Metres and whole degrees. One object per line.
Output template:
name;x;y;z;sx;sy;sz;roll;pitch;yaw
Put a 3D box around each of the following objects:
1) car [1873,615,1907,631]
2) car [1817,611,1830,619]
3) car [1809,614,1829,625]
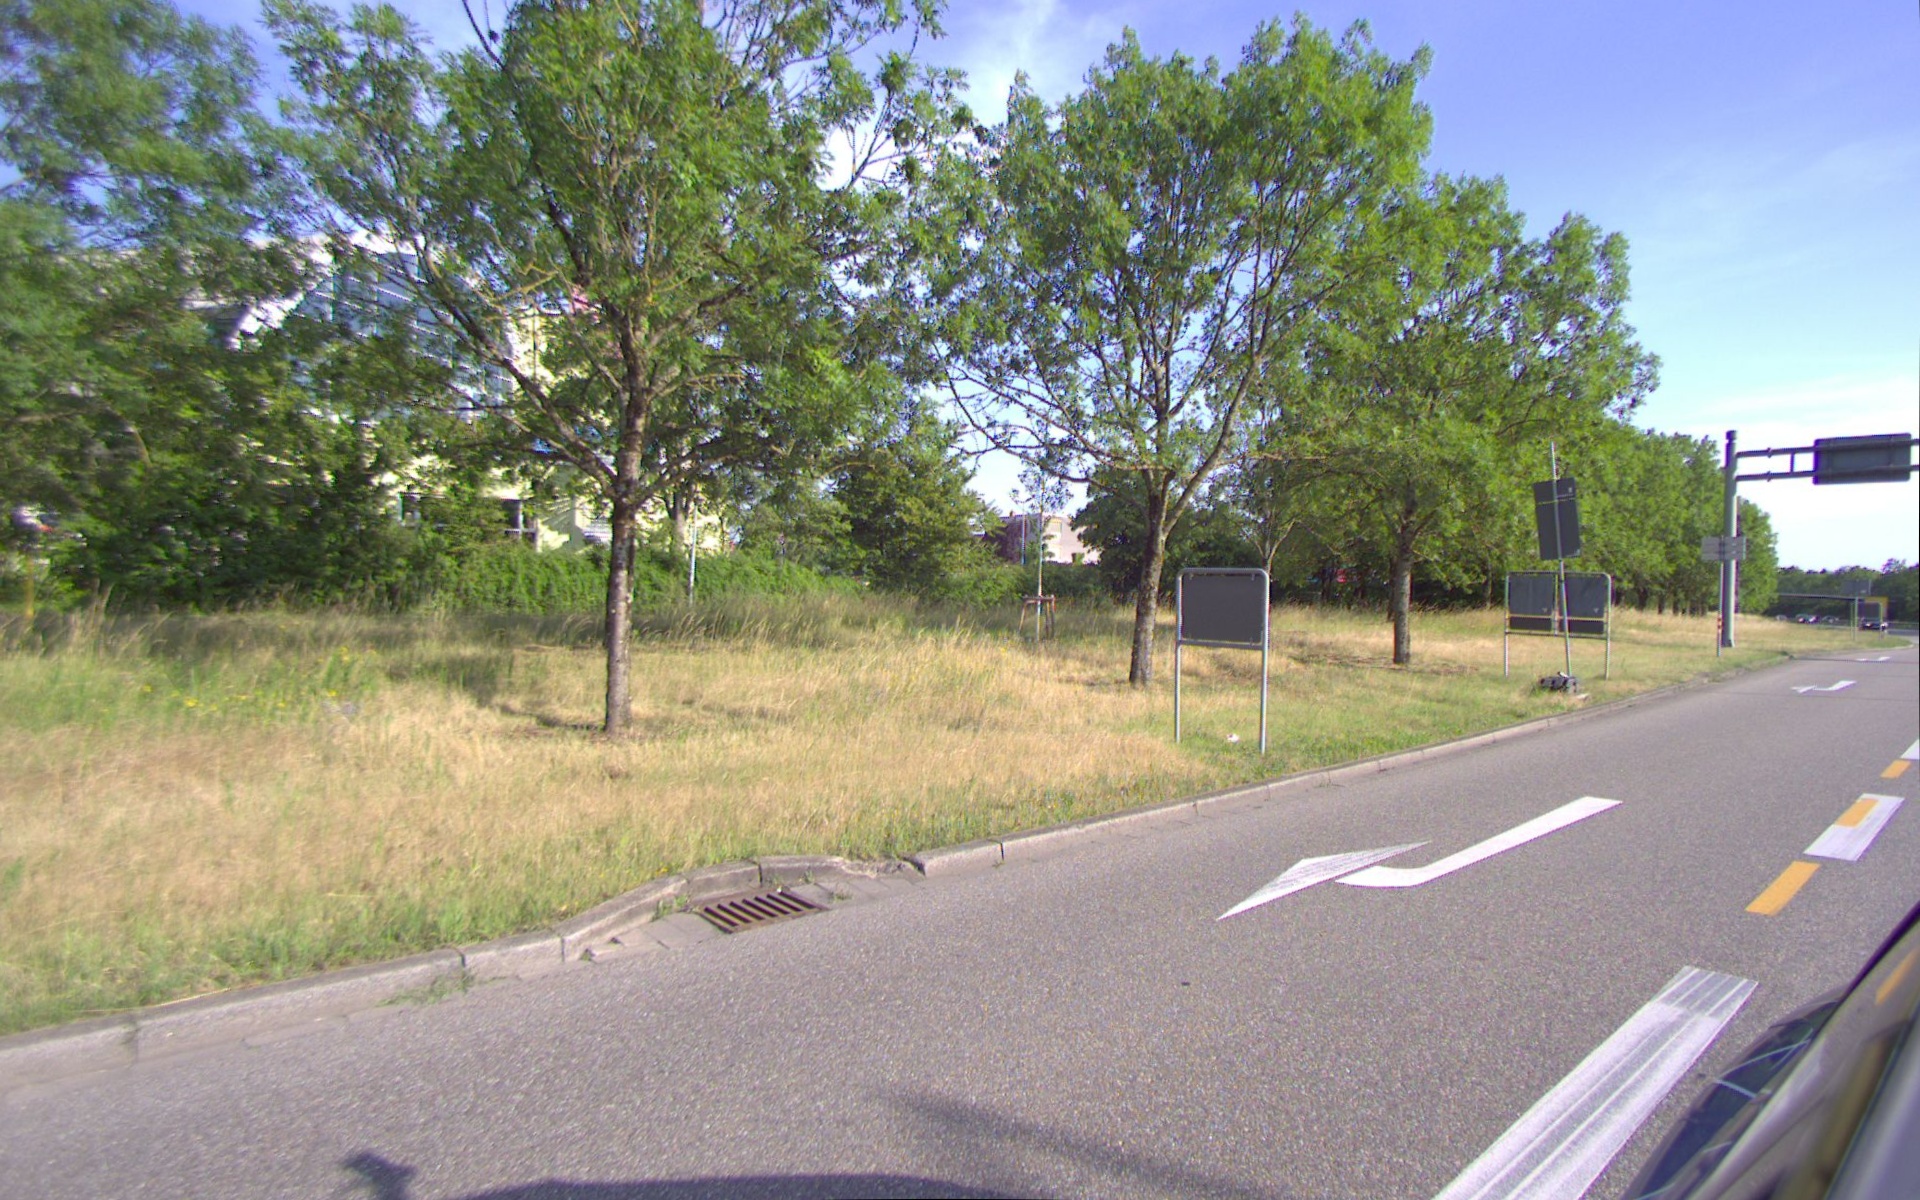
car;87.458;2.126;95.188;1.891;1.403;4.297;0;-1;37
car;161.794;2.738;189.558;1.599;1.460;3.193;0;-1;37
car;130.967;2.966;154.343;1.883;1.474;3.862;2;1;34
